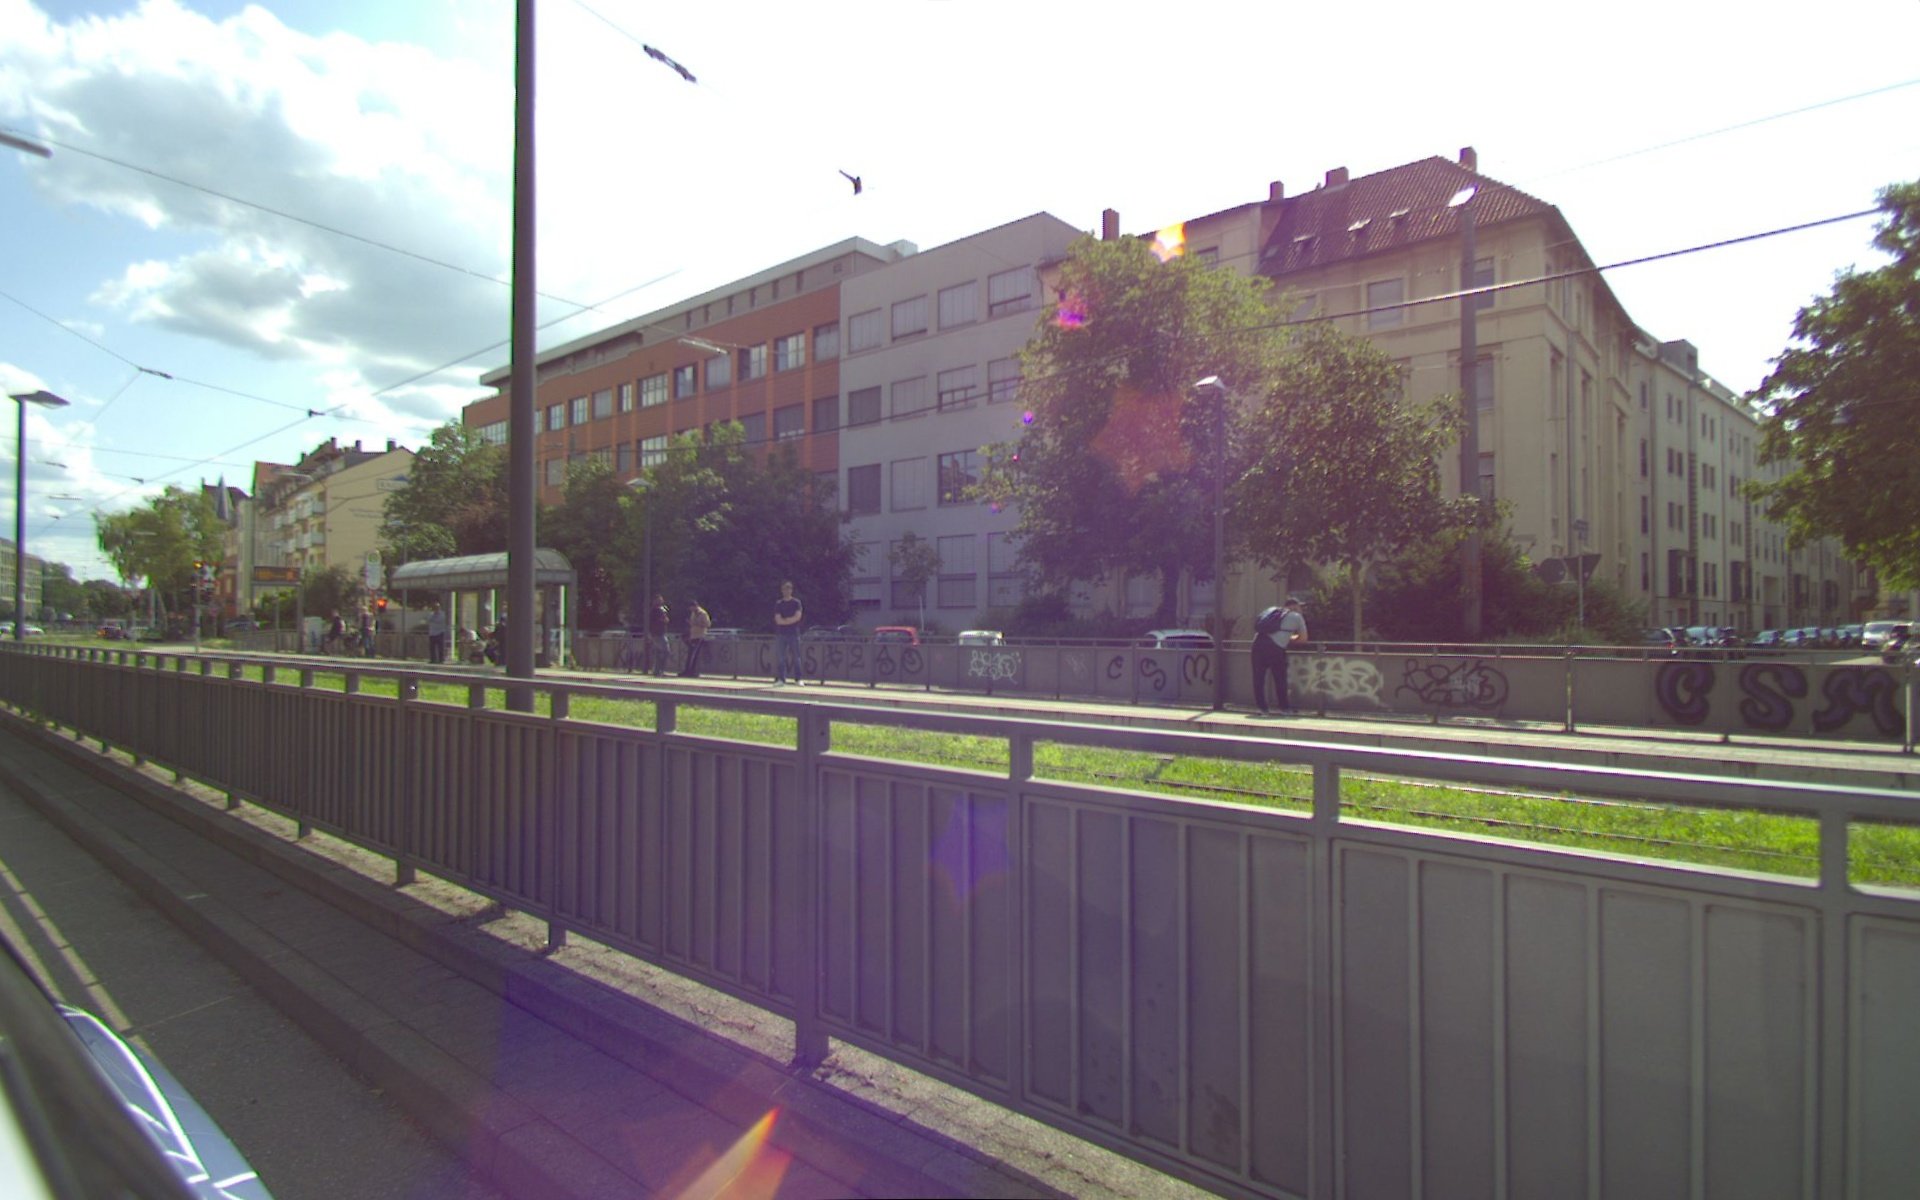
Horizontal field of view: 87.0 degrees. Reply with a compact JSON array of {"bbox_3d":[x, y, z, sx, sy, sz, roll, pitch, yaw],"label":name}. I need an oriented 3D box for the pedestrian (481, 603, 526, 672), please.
[{"bbox_3d":[-11.736,0.956,26.021,1.035,1.756,0.626,-1,-2,38],"label":"pedestrian"}]

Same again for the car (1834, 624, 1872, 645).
[{"bbox_3d":[70.253,2.721,79.581,3.938,1.490,1.826,3,-3,-42],"label":"car"}]

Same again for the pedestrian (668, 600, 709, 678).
[{"bbox_3d":[-5.995,0.862,22.334,0.624,1.687,0.600,-1,-2,41],"label":"pedestrian"}]

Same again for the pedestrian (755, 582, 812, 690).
[{"bbox_3d":[-3.219,0.642,18.449,0.639,1.906,0.742,1,0,43],"label":"pedestrian"}]

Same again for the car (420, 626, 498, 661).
[{"bbox_3d":[-24.453,2.110,49.540,1.850,1.671,3.840,0,-2,2],"label":"car"}]

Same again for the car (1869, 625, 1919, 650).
[{"bbox_3d":[53.228,2.130,57.617,3.939,1.376,1.875,2,-3,-43],"label":"car"}]

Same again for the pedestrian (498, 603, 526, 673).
[{"bbox_3d":[-12.032,1.011,27.177,0.623,1.841,0.438,-1,-2,38],"label":"pedestrian"}]

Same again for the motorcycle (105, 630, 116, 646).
[{"bbox_3d":[-82.252,3.671,97.981,2.010,1.414,0.626,-1,0,44],"label":"motorcycle"}]

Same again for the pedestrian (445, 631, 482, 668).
[{"bbox_3d":[-14.102,1.400,28.742,0.623,1.039,0.712,-1,-3,38],"label":"pedestrian"}]

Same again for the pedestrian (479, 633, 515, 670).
[{"bbox_3d":[-12.809,1.429,27.996,0.562,1.002,0.697,-1,-3,38],"label":"pedestrian"}]

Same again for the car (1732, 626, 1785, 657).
[{"bbox_3d":[44.775,2.339,56.720,3.941,1.639,1.825,3,-3,-45],"label":"car"}]

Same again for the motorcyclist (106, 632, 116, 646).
[{"bbox_3d":[-82.104,3.780,97.834,0.693,1.368,0.654,-1,0,43],"label":"motorcyclist"}]

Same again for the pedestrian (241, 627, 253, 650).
[{"bbox_3d":[-53.050,2.862,75.285,0.481,1.723,0.641,-2,-3,42],"label":"pedestrian"}]

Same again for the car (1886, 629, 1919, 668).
[{"bbox_3d":[34.577,1.680,34.717,3.950,1.333,1.577,0,-2,5],"label":"car"}]

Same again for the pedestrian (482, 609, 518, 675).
[{"bbox_3d":[-11.518,1.048,25.354,0.556,1.645,0.593,-1,-3,27],"label":"pedestrian"}]

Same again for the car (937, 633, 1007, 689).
[{"bbox_3d":[0.319,1.662,28.353,1.791,1.402,4.022,-1,-2,0],"label":"car"}]

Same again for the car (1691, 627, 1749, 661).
[{"bbox_3d":[37.543,2.186,49.983,1.824,1.615,3.942,-1,-3,44],"label":"car"}]

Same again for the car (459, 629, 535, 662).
[{"bbox_3d":[-22.238,2.166,48.754,1.629,1.508,3.995,0,-2,4],"label":"car"}]

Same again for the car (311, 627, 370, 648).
[{"bbox_3d":[-46.913,2.832,76.619,3.557,1.491,1.777,2,-6,-42],"label":"car"}]

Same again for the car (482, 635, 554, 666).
[{"bbox_3d":[-19.973,2.274,45.859,1.584,1.314,3.247,0,-2,5],"label":"car"}]

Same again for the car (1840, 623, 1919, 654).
[{"bbox_3d":[41.994,1.713,44.965,3.950,1.376,1.870,0,-2,5],"label":"car"}]

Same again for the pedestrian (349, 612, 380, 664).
[{"bbox_3d":[-20.158,1.265,34.276,0.798,1.737,0.632,-1,-2,38],"label":"pedestrian"}]

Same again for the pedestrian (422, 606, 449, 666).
[{"bbox_3d":[-15.320,1.050,29.547,0.623,1.739,0.481,-1,-1,39],"label":"pedestrian"}]

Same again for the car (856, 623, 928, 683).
[{"bbox_3d":[-1.982,1.551,30.628,1.810,1.652,4.134,1,-2,1],"label":"car"}]

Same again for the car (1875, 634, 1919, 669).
[{"bbox_3d":[38.075,1.999,39.253,3.571,1.333,1.577,0,-2,5],"label":"car"}]

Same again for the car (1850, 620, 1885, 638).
[{"bbox_3d":[79.035,2.520,88.117,3.938,1.490,1.826,3,-3,-42],"label":"car"}]

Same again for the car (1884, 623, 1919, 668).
[{"bbox_3d":[36.594,1.654,36.851,3.950,1.630,1.870,0,-2,5],"label":"car"}]

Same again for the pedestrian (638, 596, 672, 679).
[{"bbox_3d":[-6.573,0.809,21.859,0.599,1.767,0.626,1,-1,-9],"label":"pedestrian"}]

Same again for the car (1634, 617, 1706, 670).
[{"bbox_3d":[26.740,1.637,38.064,1.823,1.845,3.945,-1,-3,41],"label":"car"}]

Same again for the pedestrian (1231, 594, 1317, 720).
[{"bbox_3d":[4.166,0.738,13.398,0.798,1.590,0.979,-1,-2,38],"label":"pedestrian"}]

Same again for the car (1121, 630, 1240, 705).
[{"bbox_3d":[5.127,1.529,24.064,1.900,1.576,4.152,1,-2,0],"label":"car"}]

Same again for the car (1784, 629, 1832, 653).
[{"bbox_3d":[55.348,2.665,66.059,3.938,1.490,1.826,3,-3,-41],"label":"car"}]

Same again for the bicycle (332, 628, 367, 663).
[{"bbox_3d":[-20.557,1.527,34.072,0.653,1.122,1.880,4,-3,-40],"label":"bicycle"}]

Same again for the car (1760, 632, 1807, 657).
[{"bbox_3d":[50.367,2.722,61.885,3.941,1.490,1.825,3,-3,-45],"label":"car"}]

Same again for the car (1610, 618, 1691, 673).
[{"bbox_3d":[23.339,1.534,34.161,1.823,1.746,3.945,-1,-3,41],"label":"car"}]

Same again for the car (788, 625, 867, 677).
[{"bbox_3d":[-4.184,1.594,32.504,1.590,1.580,3.991,-1,-2,7],"label":"car"}]

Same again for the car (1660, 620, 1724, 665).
[{"bbox_3d":[30.353,1.761,41.923,1.823,1.731,3.945,-1,-3,41],"label":"car"}]

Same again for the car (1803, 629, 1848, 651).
[{"bbox_3d":[61.465,2.823,71.828,3.937,1.490,1.827,3,-3,-40],"label":"car"}]

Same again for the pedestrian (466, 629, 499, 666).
[{"bbox_3d":[-13.613,1.359,28.871,0.562,1.039,0.647,-1,-3,38],"label":"pedestrian"}]

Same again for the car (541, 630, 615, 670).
[{"bbox_3d":[-15.511,2.000,41.273,1.651,1.420,3.063,1,0,5],"label":"car"}]

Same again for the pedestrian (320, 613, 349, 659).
[{"bbox_3d":[-23.528,1.335,38.057,0.798,1.712,0.659,-1,-2,38],"label":"pedestrian"}]

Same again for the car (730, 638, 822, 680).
[{"bbox_3d":[-6.243,2.007,34.848,1.774,1.159,3.986,-2,0,11],"label":"car"}]

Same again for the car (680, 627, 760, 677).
[{"bbox_3d":[-8.511,1.799,36.221,1.651,1.540,3.995,-2,0,4],"label":"car"}]

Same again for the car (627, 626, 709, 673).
[{"bbox_3d":[-10.894,1.821,38.009,1.651,1.540,3.994,-2,0,5],"label":"car"}]
